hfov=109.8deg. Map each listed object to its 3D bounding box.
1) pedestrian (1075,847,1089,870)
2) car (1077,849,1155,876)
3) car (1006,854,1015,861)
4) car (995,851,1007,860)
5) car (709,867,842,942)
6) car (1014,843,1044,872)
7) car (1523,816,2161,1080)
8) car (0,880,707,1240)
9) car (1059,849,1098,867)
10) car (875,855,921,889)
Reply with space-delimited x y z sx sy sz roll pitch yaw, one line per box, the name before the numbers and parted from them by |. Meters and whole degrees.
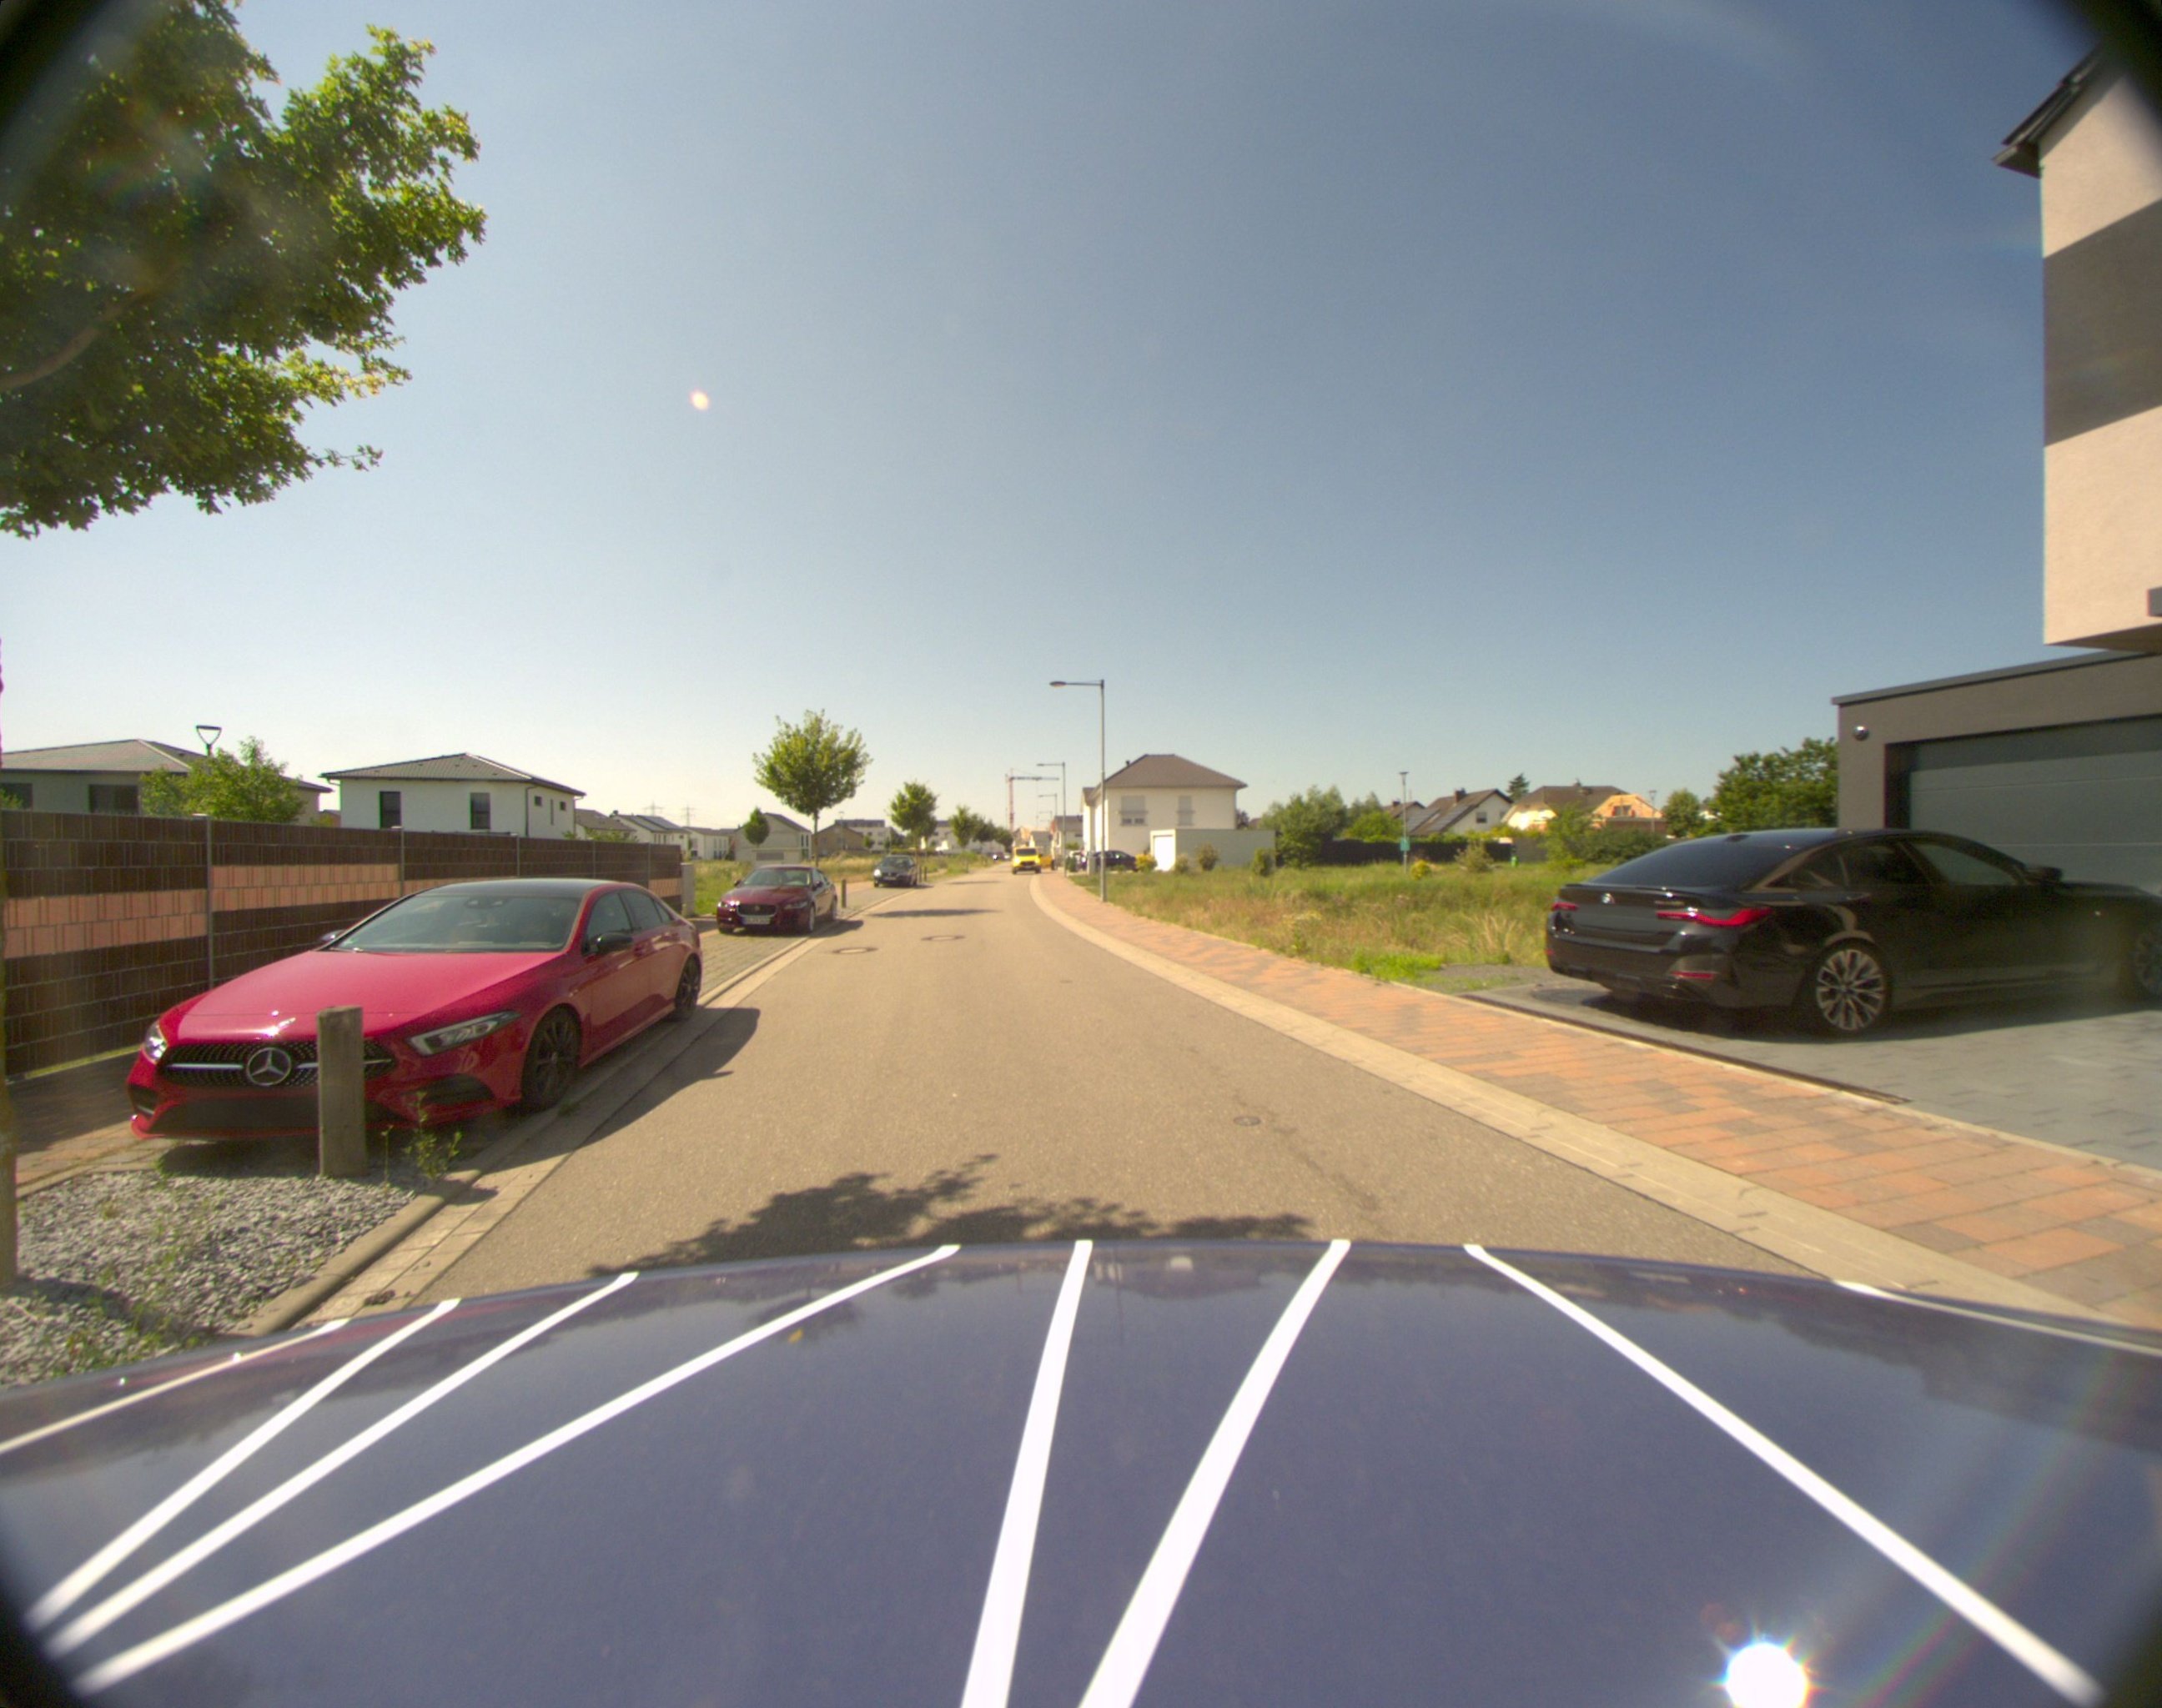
pedestrian | 0.102 0.307 57.052 0.932 1.675 0.537 -3 1 6
car | 2.111 0.477 46.017 4.410 1.444 1.746 -2 1 -16
car | -13.476 0.683 145.818 1.493 1.389 3.271 -1 1 -3
car | -13.431 0.302 127.552 1.769 1.483 3.998 -1 1 -3
car | -6.688 1.016 17.162 1.760 1.355 4.571 0 0 -8
car | -3.888 0.247 55.930 1.890 2.002 4.837 -2 1 -7
car | 6.149 0.572 6.093 4.390 1.622 1.769 -1 1 -10
car | -4.445 1.002 5.755 1.769 1.429 4.514 1 0 -11
car | -0.274 0.398 80.144 3.998 1.842 1.999 -1 1 -2
car | -8.597 0.797 35.907 1.603 1.466 3.672 1 0 -6
